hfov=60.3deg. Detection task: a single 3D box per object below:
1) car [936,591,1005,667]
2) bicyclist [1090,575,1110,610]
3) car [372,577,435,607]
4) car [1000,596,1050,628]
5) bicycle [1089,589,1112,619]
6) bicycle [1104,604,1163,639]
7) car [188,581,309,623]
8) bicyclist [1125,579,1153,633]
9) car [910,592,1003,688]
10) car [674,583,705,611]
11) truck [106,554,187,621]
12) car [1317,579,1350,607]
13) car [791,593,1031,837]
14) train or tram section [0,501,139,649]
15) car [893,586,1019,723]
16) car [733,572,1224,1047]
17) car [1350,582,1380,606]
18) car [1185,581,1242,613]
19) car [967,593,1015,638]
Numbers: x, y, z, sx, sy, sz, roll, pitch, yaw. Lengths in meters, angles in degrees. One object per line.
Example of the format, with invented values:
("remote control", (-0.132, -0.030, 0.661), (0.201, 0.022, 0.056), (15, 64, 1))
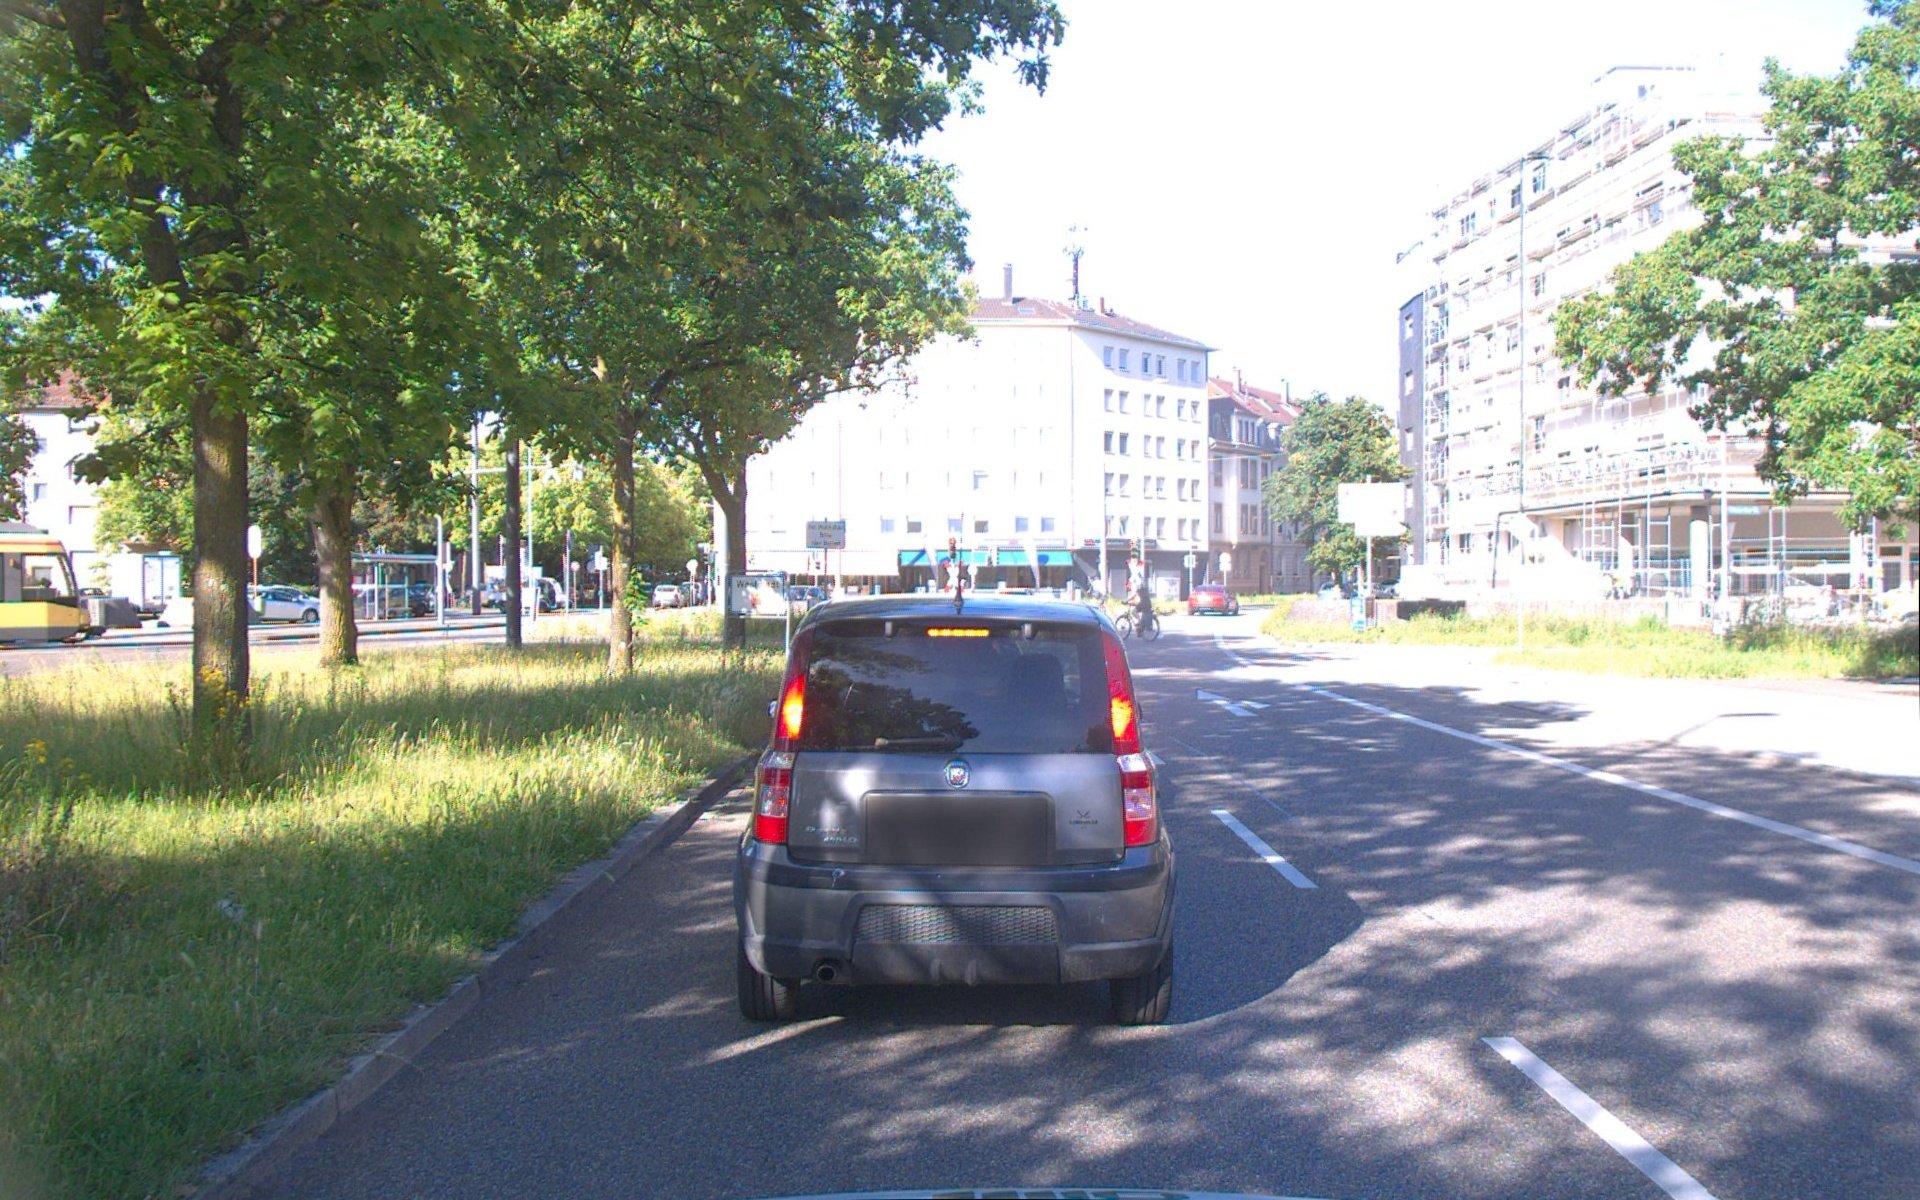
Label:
("car", (0.179, 0.556, 33.849), (1.328, 1.475, 3.265), (0, 0, -1))
("bicyclist", (5.883, -0.319, 69.704), (0.726, 1.463, 0.845), (1, 0, -2))
("car", (-38.952, -0.556, 115.827), (3.940, 2.049, 1.983), (-1, 0, -27))
("car", (2.284, 0.402, 57.691), (1.118, 1.083, 2.723), (0, 1, 17))
("bicycle", (5.903, 0.169, 69.661), (0.694, 1.219, 2.519), (1, 0, -2))
("bicycle", (4.982, 0.603, 47.600), (0.556, 0.961, 1.766), (-1, 1, -44))
("car", (-29.956, 0.051, 69.769), (1.961, 1.713, 4.302), (0, 1, 38))
("bicyclist", (5.141, 0.165, 47.416), (0.546, 1.519, 0.576), (-1, 0, -43))
("car", (-0.079, 0.608, 27.267), (1.434, 1.449, 3.381), (0, 1, -1))
("car", (-20.160, -0.218, 123.271), (1.954, 2.049, 3.996), (0, 1, -5))
("truck", (-35.746, -0.550, 72.675), (3.932, 2.854, 1.987), (0, 1, 44))
("car", (20.501, -0.392, 90.703), (1.646, 1.475, 3.574), (0, 1, 15))
("car", (-0.316, 0.680, 11.616), (1.434, 1.425, 3.393), (0, 1, -1))
("train or tram section", (-31.511, -0.579, 40.145), (20.552, 3.836, 3.268), (-1, 1, -34))
("car", (-0.070, 0.603, 20.661), (1.434, 1.534, 3.504), (0, 1, -1))
("car", (0.034, 0.659, 7.400), (1.595, 1.534, 3.999), (0, 1, -1))
("car", (23.111, -0.336, 94.370), (1.495, 1.337, 3.289), (0, 1, 17))
("car", (11.890, -0.145, 77.275), (1.848, 1.453, 4.388), (0, 1, 20))
("car", (0.918, 0.444, 49.601), (1.328, 1.304, 2.875), (0, 1, -1))
